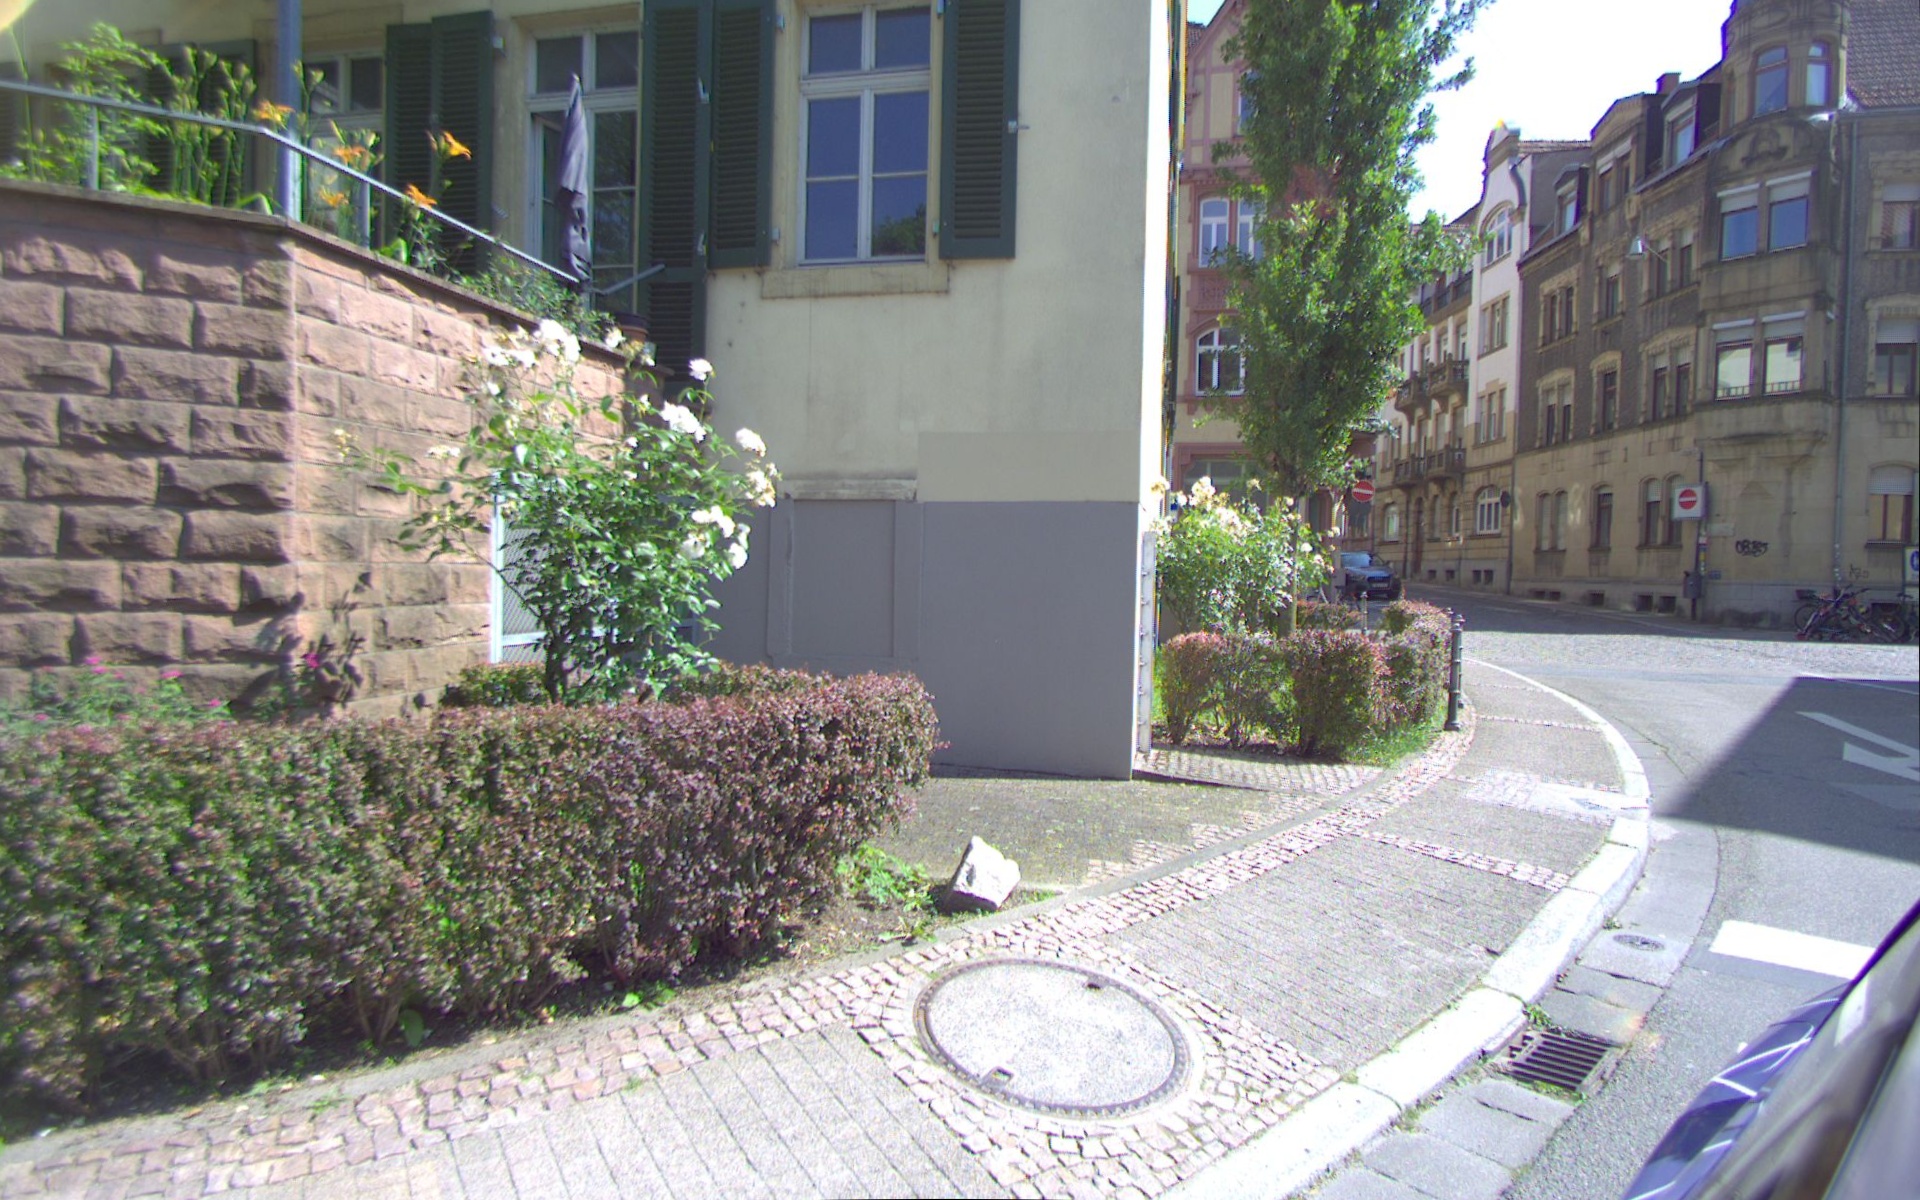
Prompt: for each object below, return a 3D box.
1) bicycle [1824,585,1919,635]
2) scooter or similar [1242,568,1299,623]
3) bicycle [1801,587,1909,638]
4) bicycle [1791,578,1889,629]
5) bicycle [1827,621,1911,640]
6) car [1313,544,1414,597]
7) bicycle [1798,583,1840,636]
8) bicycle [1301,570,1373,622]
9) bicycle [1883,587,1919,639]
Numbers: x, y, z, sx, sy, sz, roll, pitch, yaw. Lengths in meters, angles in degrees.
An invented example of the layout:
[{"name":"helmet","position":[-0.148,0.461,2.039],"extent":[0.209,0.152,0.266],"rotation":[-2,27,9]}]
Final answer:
[{"name":"bicycle","position":[19.987,0.197,22.064],"extent":[0.285,1.080,1.642],"rotation":[-42,1,3]},{"name":"scooter or similar","position":[7.333,-0.110,23.937],"extent":[1.168,1.250,0.442],"rotation":[1,2,-1]},{"name":"bicycle","position":[19.499,0.257,22.100],"extent":[0.285,1.080,1.642],"rotation":[-42,1,3]},{"name":"bicycle","position":[20.665,0.074,23.790],"extent":[1.617,1.098,0.495],"rotation":[2,6,13]},{"name":"bicycle","position":[19.472,0.647,21.713],"extent":[1.068,0.291,1.114],"rotation":[2,3,27]},{"name":"car","position":[13.593,-1.054,34.385],"extent":[1.828,1.601,4.261],"rotation":[-1,4,2]},{"name":"bicycle","position":[18.884,0.187,22.259],"extent":[0.283,1.099,1.628],"rotation":[-2,1,26]},{"name":"bicycle","position":[9.051,-0.120,24.372],"extent":[0.495,1.160,1.798],"rotation":[1,3,-23]},{"name":"bicycle","position":[20.436,0.272,21.249],"extent":[0.280,1.099,1.646],"rotation":[3,-1,-15]}]
